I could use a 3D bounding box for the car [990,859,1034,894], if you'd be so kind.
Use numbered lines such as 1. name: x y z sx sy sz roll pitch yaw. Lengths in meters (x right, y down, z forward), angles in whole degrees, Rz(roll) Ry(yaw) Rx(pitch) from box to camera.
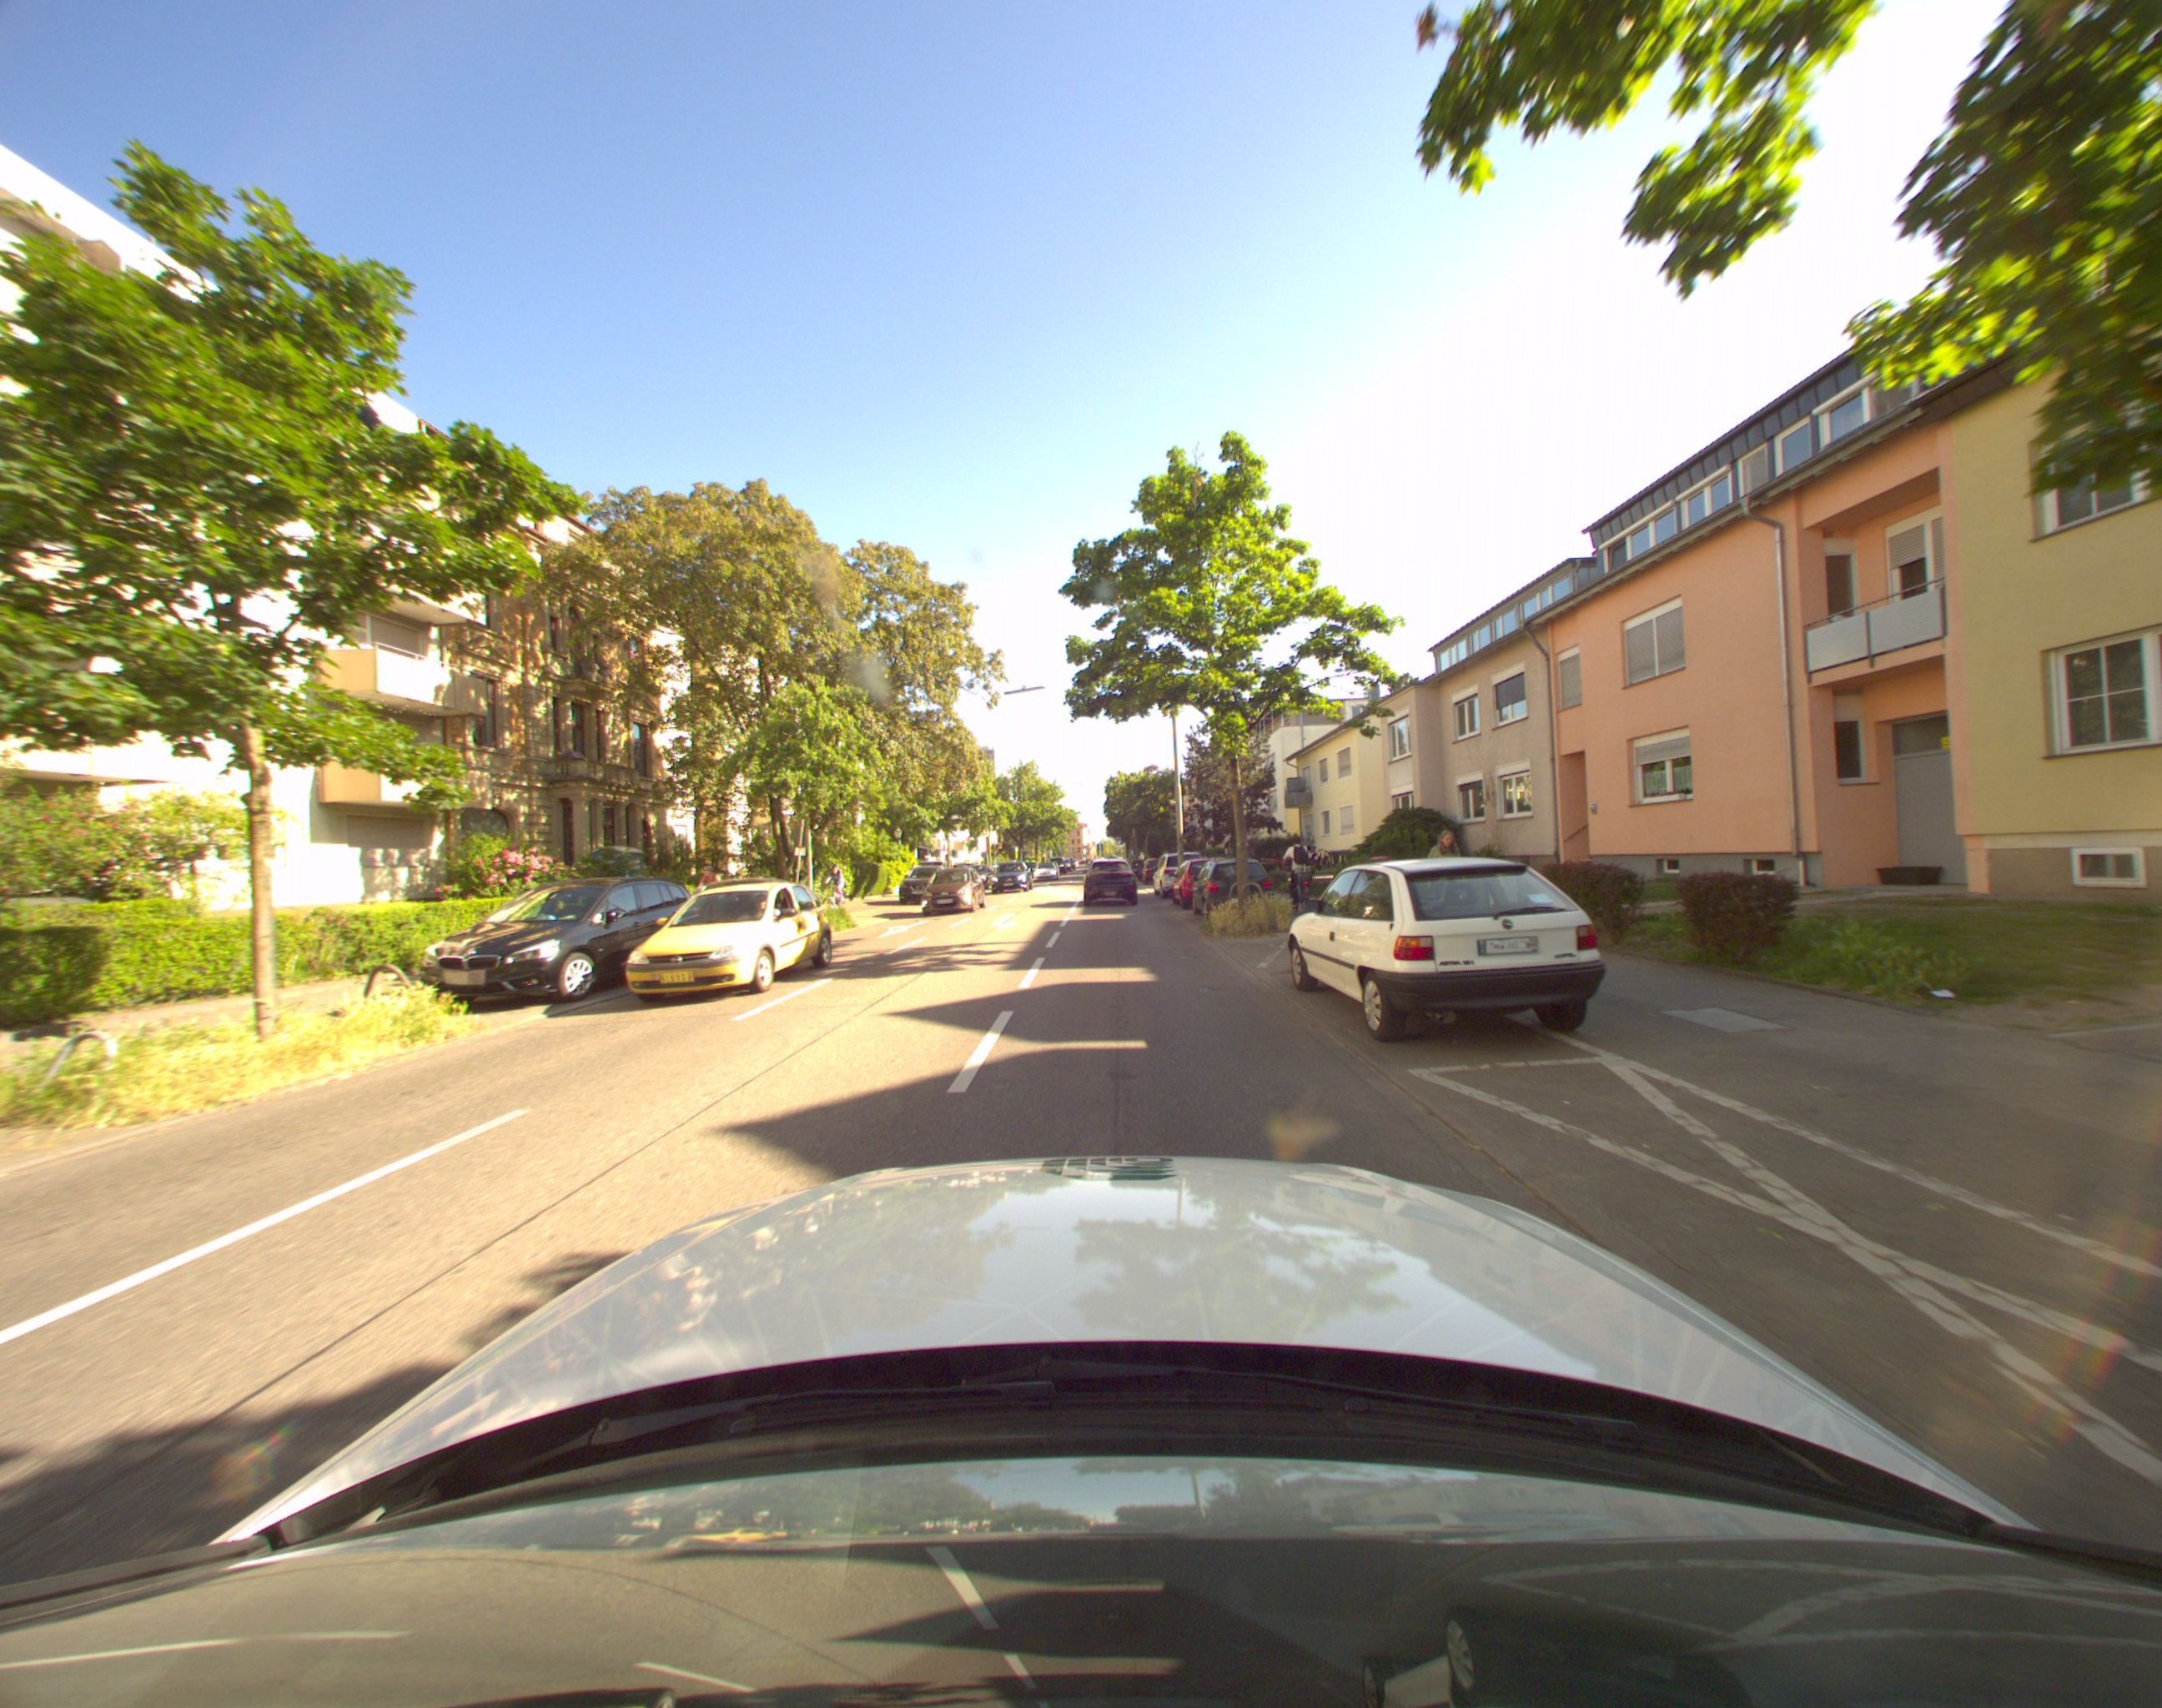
1. car: -3.663 1.169 43.922 1.830 1.613 4.401 -5 0 1

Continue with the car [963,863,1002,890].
1. car: -6.082 1.367 50.710 1.671 1.555 4.010 -2 0 3

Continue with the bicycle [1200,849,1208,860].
1. bicycle: 14.838 0.024 98.160 0.589 1.287 1.690 -5 0 2

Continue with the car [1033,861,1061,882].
1. car: -2.598 1.351 63.221 1.727 1.412 4.193 -5 0 1

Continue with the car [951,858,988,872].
1. car: -13.142 1.238 96.059 3.973 1.486 1.881 -2 0 0

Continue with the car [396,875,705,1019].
1. car: -7.463 1.182 12.099 1.665 1.605 4.393 -2 0 0

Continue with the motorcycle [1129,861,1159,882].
1. motorcycle: 3.977 1.114 51.401 0.701 1.271 2.411 -4 0 -26

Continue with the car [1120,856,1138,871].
1. car: 5.177 0.991 88.494 1.708 1.489 4.233 -3 0 0

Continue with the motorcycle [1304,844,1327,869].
1. motorcycle: 13.573 0.170 47.228 0.634 1.375 2.426 -4 0 2

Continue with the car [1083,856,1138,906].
1. car: 0.987 0.872 27.820 1.739 1.574 3.559 -1 0 1

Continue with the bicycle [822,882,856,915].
1. bicycle: -8.853 1.621 29.863 0.606 1.073 1.744 -3 0 2

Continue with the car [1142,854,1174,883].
1. car: 4.398 0.824 46.933 1.613 1.499 3.652 -4 0 3

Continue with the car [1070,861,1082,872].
1. car: -0.864 2.177 138.588 1.800 1.648 4.673 -5 0 1

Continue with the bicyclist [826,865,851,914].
1. bicyclist: -8.884 1.288 29.887 0.606 1.754 0.691 -3 -1 1

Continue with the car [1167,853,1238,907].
1. car: 3.596 0.735 24.661 1.527 1.449 3.717 -3 0 0

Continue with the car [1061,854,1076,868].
1. car: -1.868 1.023 120.088 1.796 1.910 4.713 -5 0 1

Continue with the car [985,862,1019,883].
1. car: -5.706 1.320 59.184 1.827 1.389 4.803 -2 0 1

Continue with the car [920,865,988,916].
1. car: -4.195 1.186 27.455 1.576 1.451 3.745 -4 0 1

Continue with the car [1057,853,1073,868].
1. car: -2.107 0.863 109.458 1.809 1.743 4.494 -5 0 1

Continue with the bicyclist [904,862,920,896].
1. bicyclist: -8.947 1.327 43.196 0.580 1.767 1.208 -1 0 1

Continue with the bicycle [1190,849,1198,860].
1. bicycle: 13.716 0.106 98.805 0.620 1.287 1.843 -5 0 2

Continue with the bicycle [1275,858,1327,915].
1. bicycle: 5.150 0.730 19.171 0.695 1.247 1.822 -4 0 2

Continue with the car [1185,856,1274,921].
1. car: 3.524 0.764 19.943 1.526 1.356 3.719 -3 0 1

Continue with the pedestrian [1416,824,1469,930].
1. pedestrian: 5.929 0.376 13.372 0.536 1.677 0.493 -4 -1 1

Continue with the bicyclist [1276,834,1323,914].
1. bicyclist: 5.122 0.463 19.156 0.721 1.793 1.016 -4 -1 1

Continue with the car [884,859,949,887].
1. car: -12.119 1.371 59.904 4.335 1.879 1.864 -2 0 -24

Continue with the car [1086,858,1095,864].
1. car: 2.271 1.650 191.305 1.764 1.452 3.889 -3 0 3

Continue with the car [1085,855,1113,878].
1. car: 1.330 0.875 58.934 1.823 1.578 3.841 -3 0 2

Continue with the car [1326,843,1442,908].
1. car: 7.518 0.498 20.552 1.526 1.356 3.719 -5 0 1

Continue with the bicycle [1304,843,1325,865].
1. bicycle: 14.402 0.021 50.209 0.596 1.303 2.426 -4 0 2

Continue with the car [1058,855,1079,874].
1. car: -1.400 1.127 92.401 2.009 1.952 5.178 -5 0 1

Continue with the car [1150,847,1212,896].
1. car: 3.776 0.636 31.309 1.763 1.659 4.340 -4 0 0

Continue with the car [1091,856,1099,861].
1. car: 3.746 1.213 217.821 1.764 1.452 3.888 -3 0 3

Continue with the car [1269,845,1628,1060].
1. car: 3.071 0.708 7.782 1.643 1.403 3.971 -5 0 1

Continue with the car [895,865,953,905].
1. car: -6.755 1.297 35.454 1.619 1.588 4.348 -1 0 1

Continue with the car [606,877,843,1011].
1. car: -4.849 1.138 11.699 1.629 1.403 3.736 -5 0 0

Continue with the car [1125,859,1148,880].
1. car: 4.277 1.189 63.303 1.580 1.396 4.456 -4 0 2

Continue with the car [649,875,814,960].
1. car: -7.273 1.252 17.384 1.595 1.477 3.935 -2 0 3
